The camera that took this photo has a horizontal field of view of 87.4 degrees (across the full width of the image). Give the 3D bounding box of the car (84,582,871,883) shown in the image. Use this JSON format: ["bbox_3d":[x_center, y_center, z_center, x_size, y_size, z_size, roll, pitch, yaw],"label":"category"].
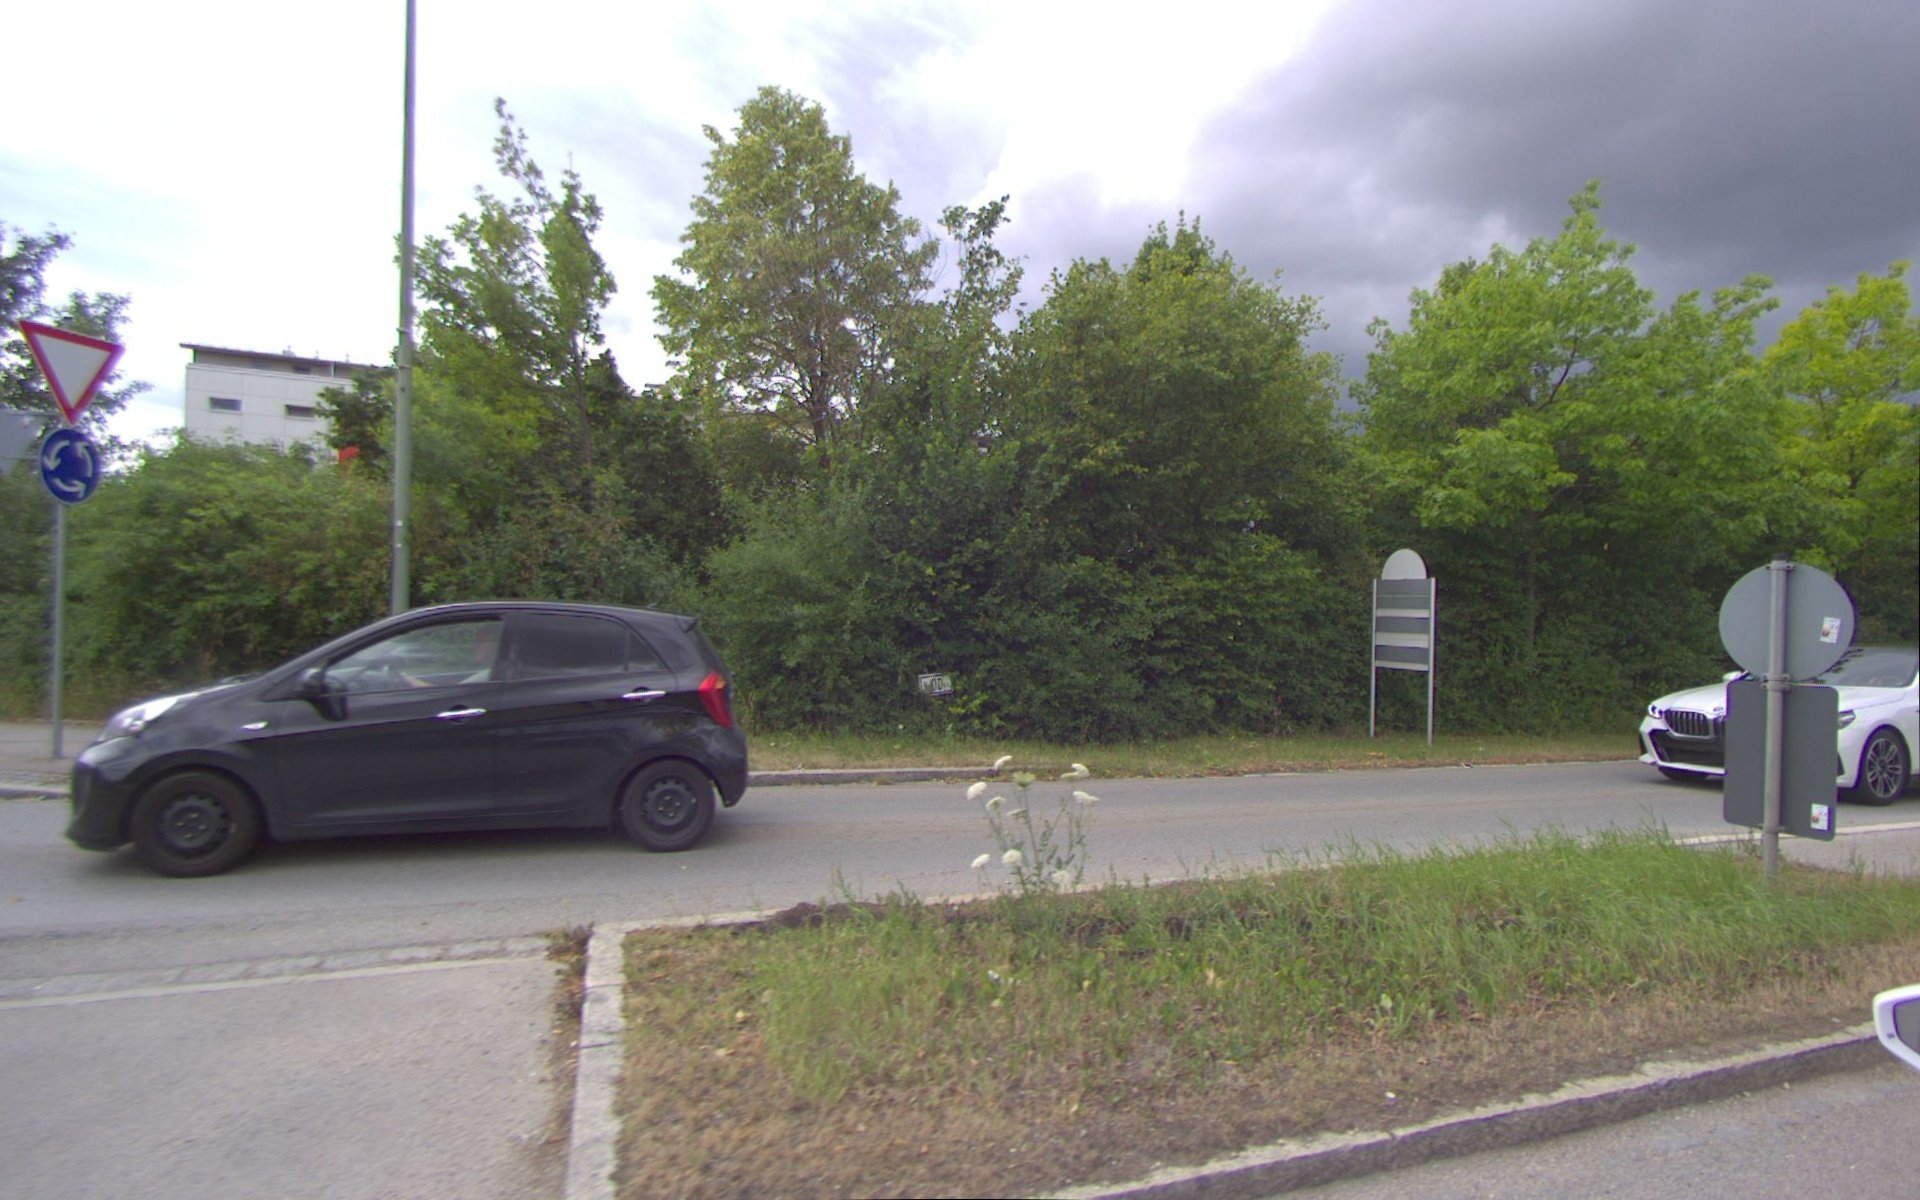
[{"bbox_3d":[-2.666,0.709,6.357,3.936,1.473,1.681,1,-2,-18],"label":"car"}]

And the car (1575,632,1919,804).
[{"bbox_3d":[9.214,1.086,10.518,4.868,1.473,2.210,1,-2,-21],"label":"car"}]
